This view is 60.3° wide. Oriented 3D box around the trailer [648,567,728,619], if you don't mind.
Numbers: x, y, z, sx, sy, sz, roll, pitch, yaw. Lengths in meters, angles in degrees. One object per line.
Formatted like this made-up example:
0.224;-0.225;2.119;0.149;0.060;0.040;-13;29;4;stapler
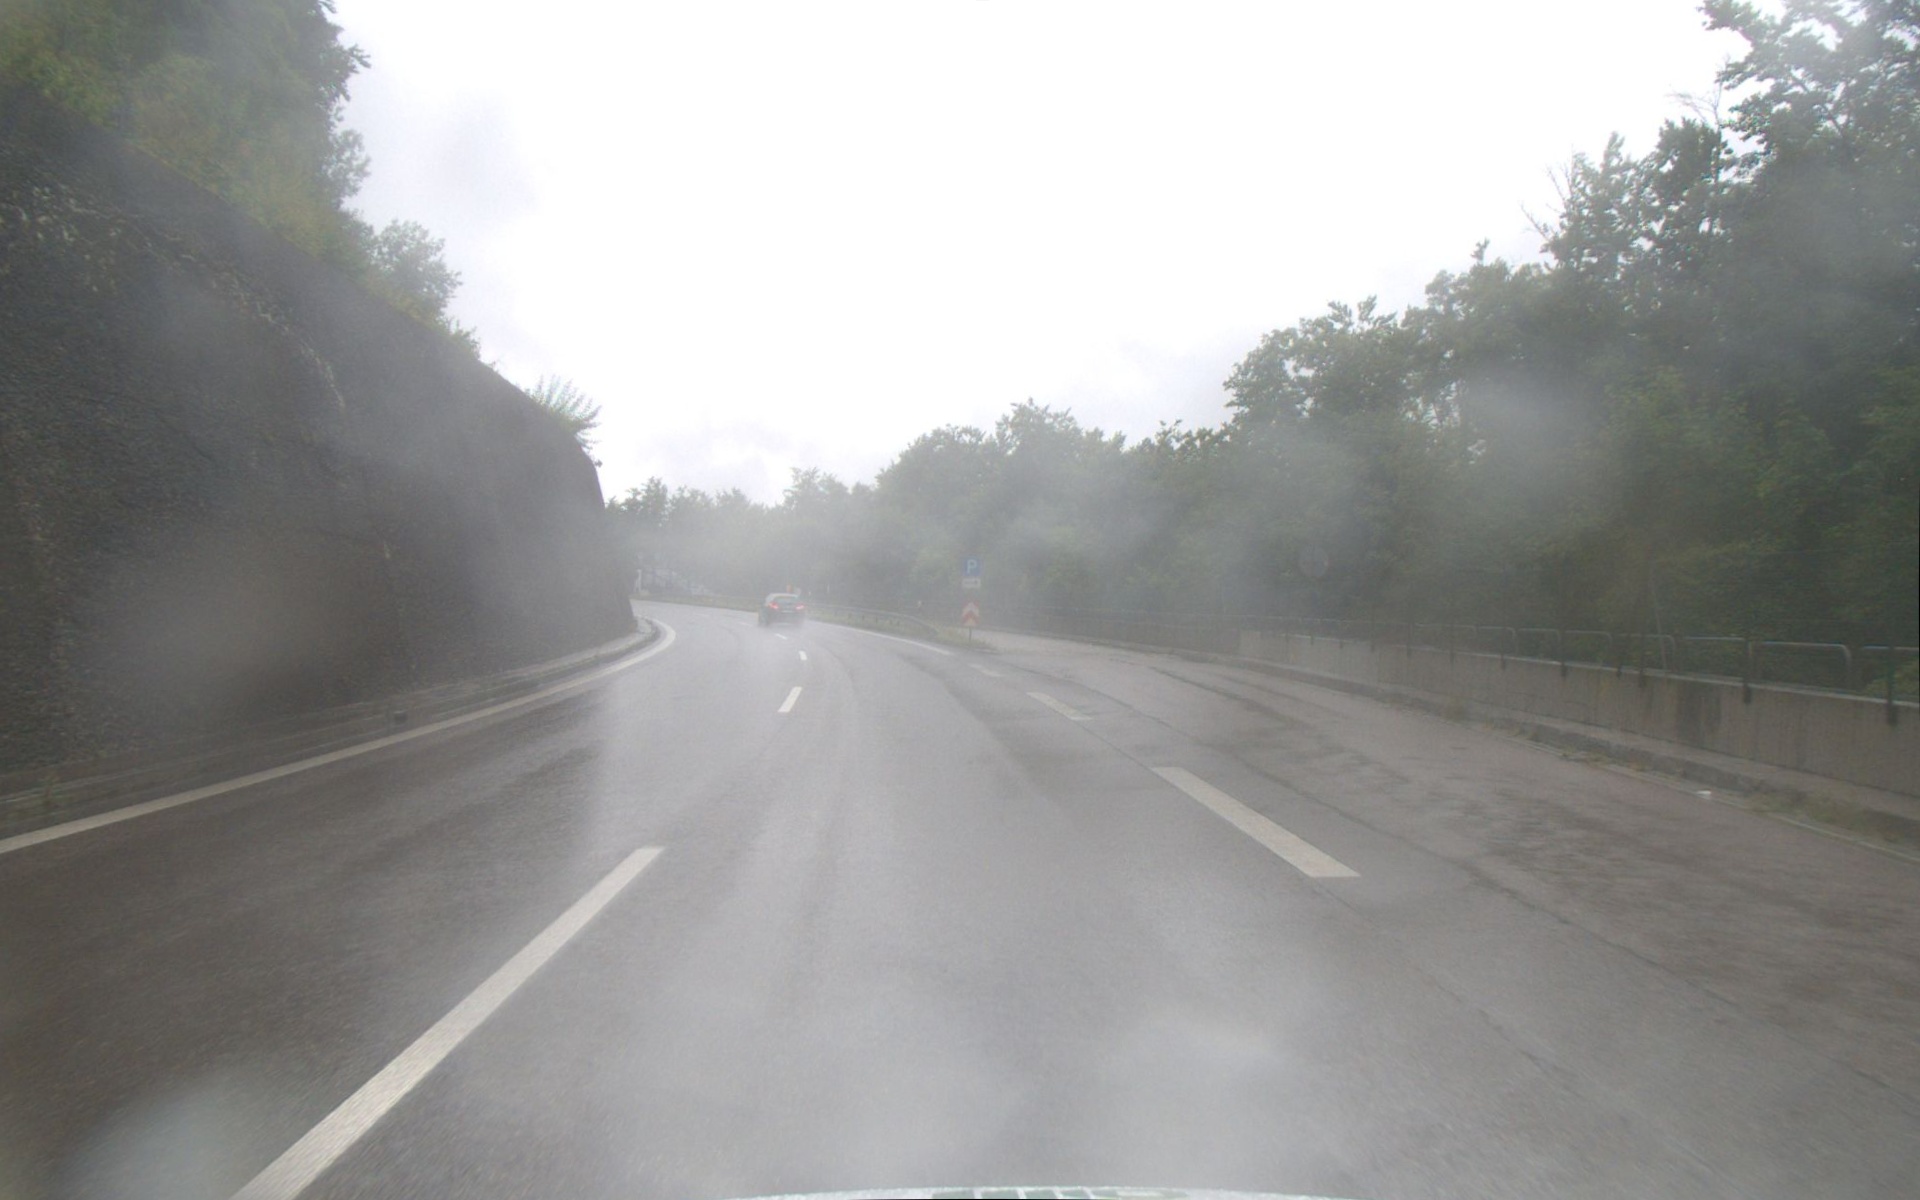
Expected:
-24.120;-0.683;145.822;2.857;4.319;14.574;2;0;-26;trailer

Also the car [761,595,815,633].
-7.911;0.624;75.766;1.872;1.525;3.985;3;0;-14;car
